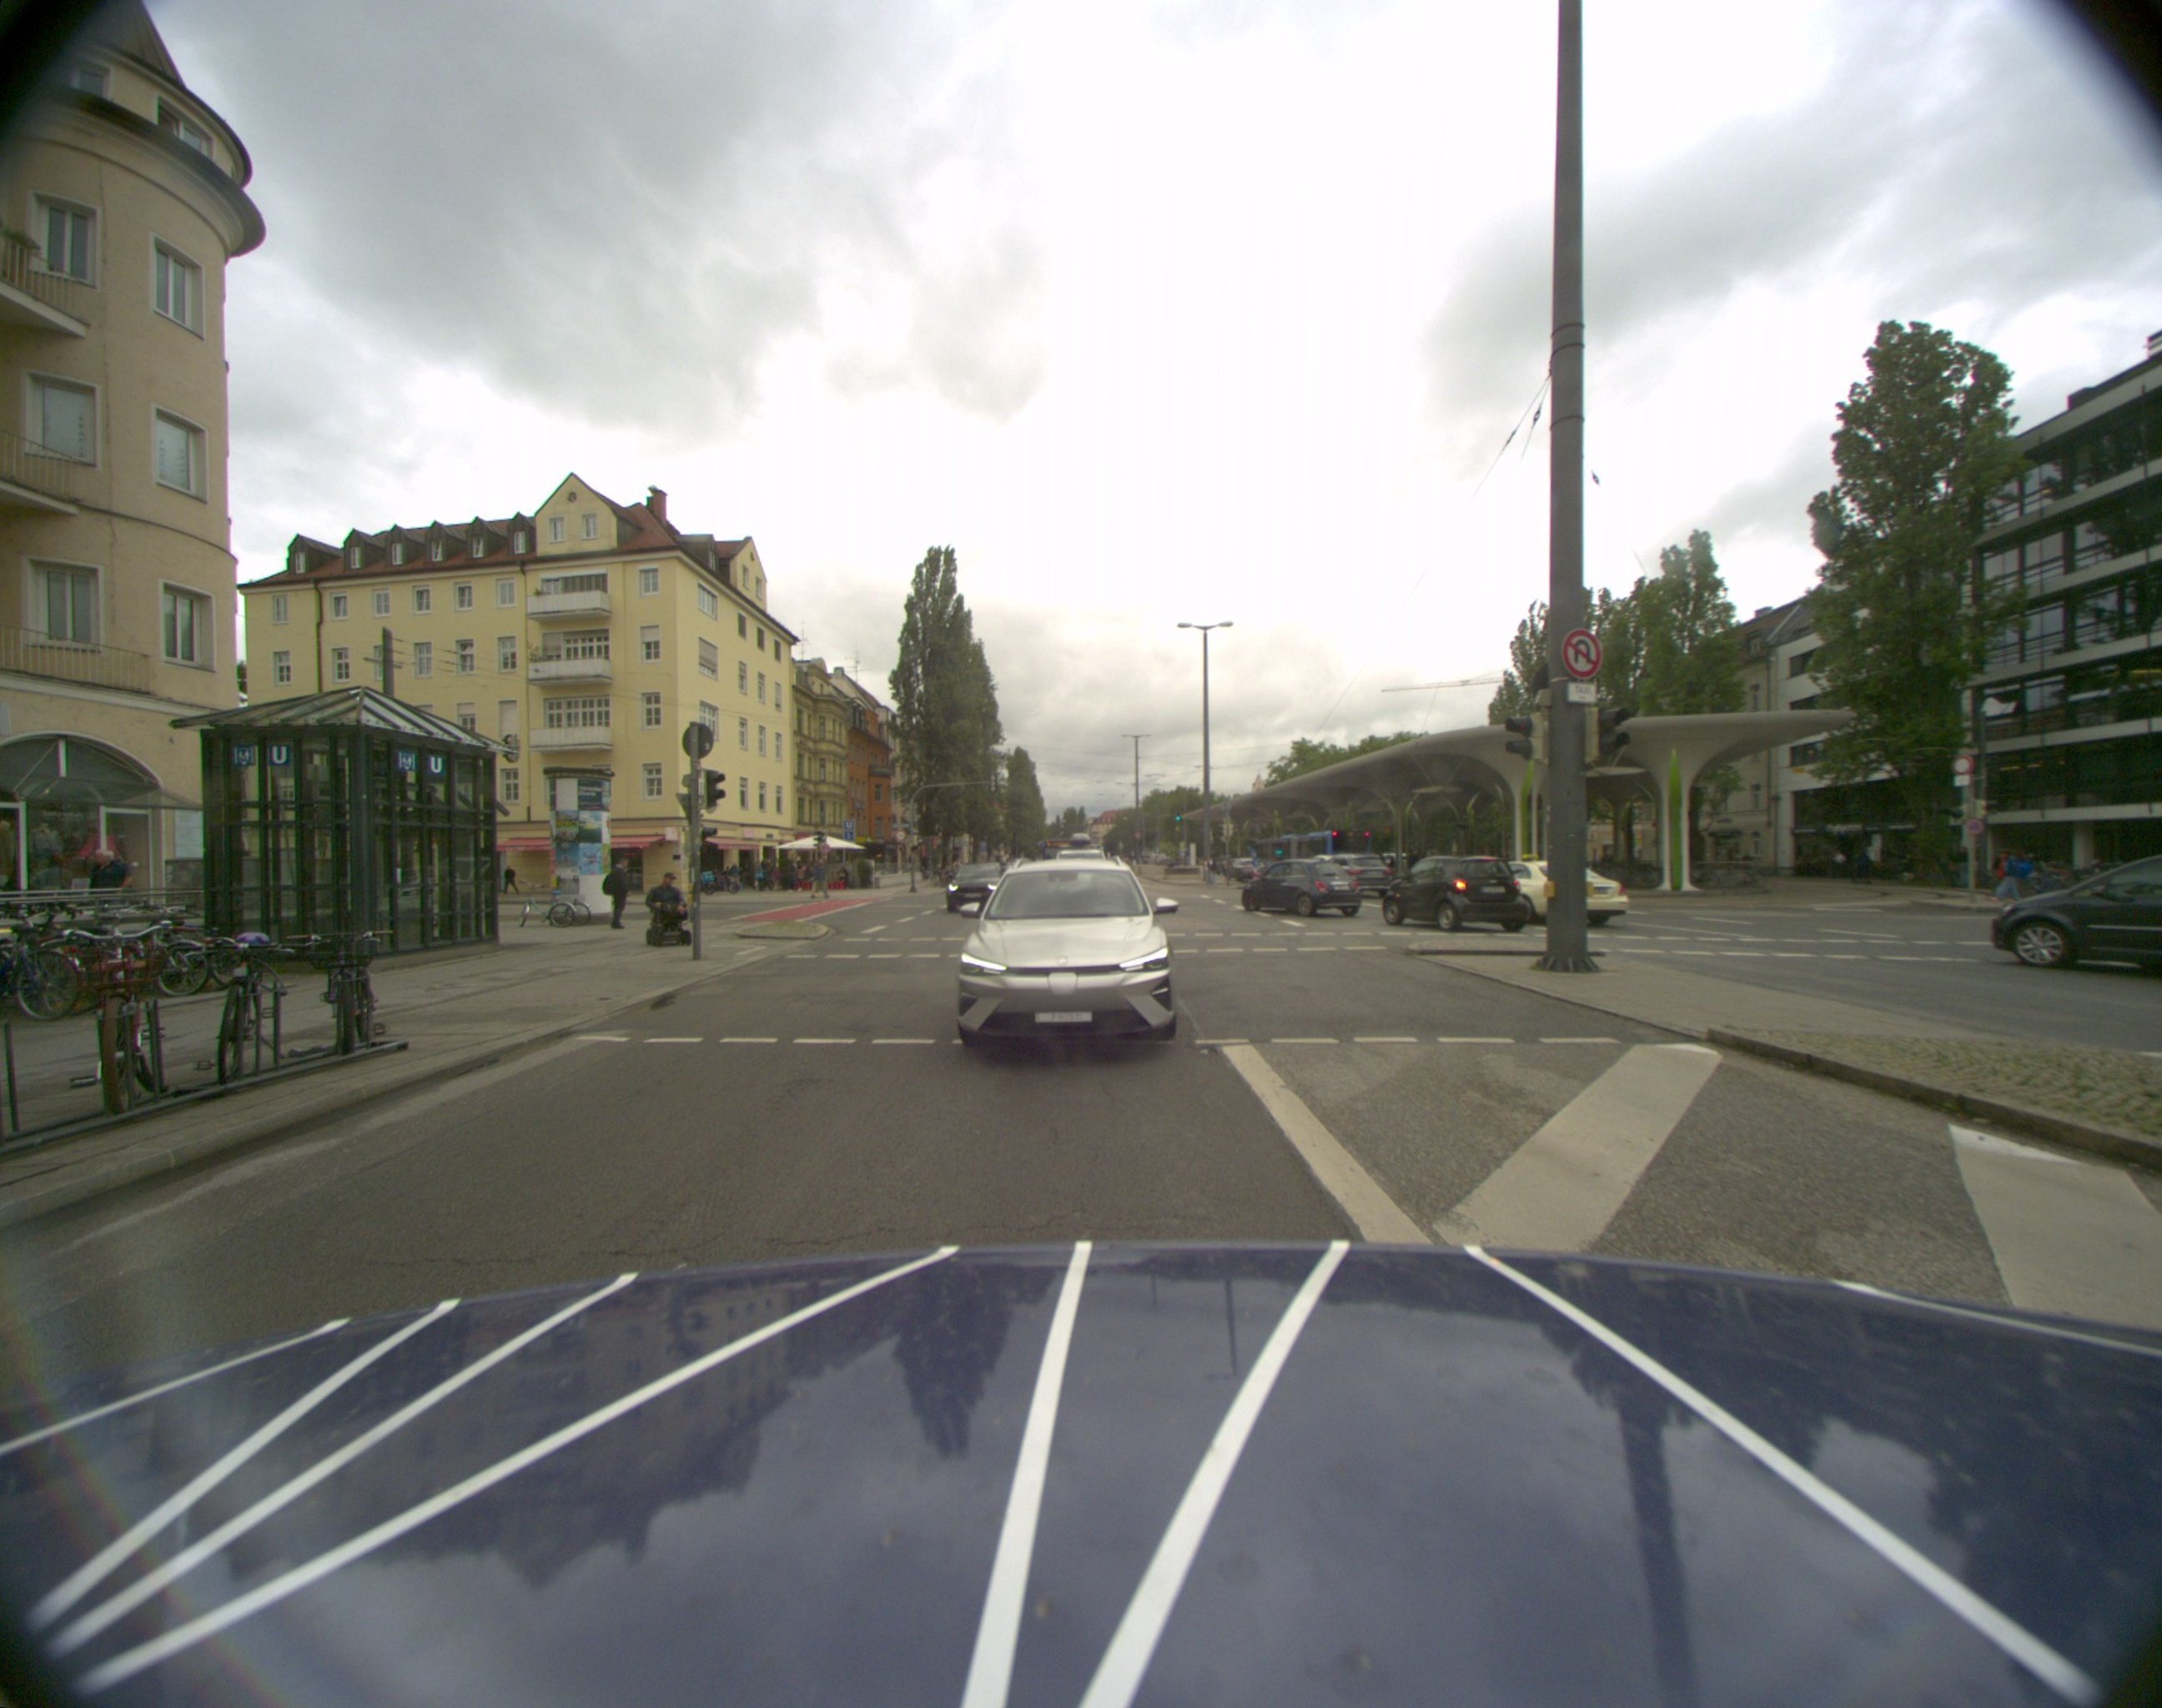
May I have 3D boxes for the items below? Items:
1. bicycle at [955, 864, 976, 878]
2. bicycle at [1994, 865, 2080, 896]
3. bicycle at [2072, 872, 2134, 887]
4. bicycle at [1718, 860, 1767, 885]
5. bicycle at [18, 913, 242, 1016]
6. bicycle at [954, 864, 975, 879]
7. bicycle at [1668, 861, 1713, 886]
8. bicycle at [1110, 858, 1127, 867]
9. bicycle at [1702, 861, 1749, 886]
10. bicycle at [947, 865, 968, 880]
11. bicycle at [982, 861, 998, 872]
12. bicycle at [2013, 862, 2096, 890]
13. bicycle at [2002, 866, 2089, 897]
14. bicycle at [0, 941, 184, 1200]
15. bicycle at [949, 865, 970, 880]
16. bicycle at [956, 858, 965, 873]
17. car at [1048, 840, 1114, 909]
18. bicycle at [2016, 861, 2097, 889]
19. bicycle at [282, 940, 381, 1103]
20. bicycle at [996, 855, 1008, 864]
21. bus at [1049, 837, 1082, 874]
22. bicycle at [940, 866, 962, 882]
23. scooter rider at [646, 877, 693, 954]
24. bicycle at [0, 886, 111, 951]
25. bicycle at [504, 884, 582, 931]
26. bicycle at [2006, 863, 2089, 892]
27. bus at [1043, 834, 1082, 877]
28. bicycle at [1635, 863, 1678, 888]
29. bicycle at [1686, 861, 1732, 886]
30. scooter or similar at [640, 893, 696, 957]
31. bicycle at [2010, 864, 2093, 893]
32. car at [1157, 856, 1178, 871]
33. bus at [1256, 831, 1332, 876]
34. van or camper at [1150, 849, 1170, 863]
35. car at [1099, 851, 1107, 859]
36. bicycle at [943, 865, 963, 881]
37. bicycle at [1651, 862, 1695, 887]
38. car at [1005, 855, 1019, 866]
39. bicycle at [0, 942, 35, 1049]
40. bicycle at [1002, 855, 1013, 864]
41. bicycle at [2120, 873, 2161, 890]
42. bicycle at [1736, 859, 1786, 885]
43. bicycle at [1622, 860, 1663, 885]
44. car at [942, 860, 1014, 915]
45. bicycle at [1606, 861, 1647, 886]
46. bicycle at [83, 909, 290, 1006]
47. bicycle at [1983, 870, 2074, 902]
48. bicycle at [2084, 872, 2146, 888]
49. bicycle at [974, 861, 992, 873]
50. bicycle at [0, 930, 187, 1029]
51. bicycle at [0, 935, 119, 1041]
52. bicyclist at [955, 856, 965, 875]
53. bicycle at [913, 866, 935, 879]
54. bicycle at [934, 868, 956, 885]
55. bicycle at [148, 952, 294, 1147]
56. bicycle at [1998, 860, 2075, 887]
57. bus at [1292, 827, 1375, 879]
[{"bbox_3d":[-8.449,1.251,55.558,1.836,0.990,0.349,0,1,39],"label":"bicycle"},{"bbox_3d":[32.325,0.885,25.723,0.455,0.934,1.727,-1,1,-21],"label":"bicycle"},{"bbox_3d":[41.658,1.037,30.988,1.631,0.629,0.363,0,0,14],"label":"bicycle"},{"bbox_3d":[30.482,0.841,35.044,0.654,1.111,2.184,-1,0,10],"label":"bicycle"},{"bbox_3d":[-10.828,1.243,8.683,1.843,1.088,0.509,0,0,-2],"label":"bicycle"},{"bbox_3d":[-8.444,1.252,54.903,1.836,0.990,0.349,0,1,39],"label":"bicycle"},{"bbox_3d":[28.428,0.909,35.471,0.654,1.111,2.184,-1,0,10],"label":"bicycle"},{"bbox_3d":[4.928,1.075,100.118,2.235,1.143,0.505,-1,0,-31],"label":"bicycle"},{"bbox_3d":[29.836,0.874,35.194,0.654,1.111,2.184,-1,0,10],"label":"bicycle"},{"bbox_3d":[-8.353,1.252,51.415,1.836,0.990,0.349,0,1,43],"label":"bicycle"},{"bbox_3d":[-8.664,1.206,72.198,1.837,0.990,0.376,-3,-1,42],"label":"bicycle"},{"bbox_3d":[34.443,0.776,26.907,1.726,0.934,0.456,1,2,42],"label":"bicycle"},{"bbox_3d":[32.013,0.902,25.250,0.455,0.934,1.728,-1,1,-19],"label":"bicycle"},{"bbox_3d":[-6.155,1.223,4.769,1.800,1.191,0.560,-1,0,43],"label":"bicycle"},{"bbox_3d":[-8.356,1.252,52.081,1.836,0.990,0.349,0,1,43],"label":"bicycle"},{"bbox_3d":[-10.632,1.027,67.175,0.424,1.280,1.778,-1,0,1],"label":"bicycle"},{"bbox_3d":[-0.042,0.630,25.265,1.999,2.100,3.999,-1,0,-1],"label":"car"},{"bbox_3d":[34.896,0.752,27.213,1.726,0.934,0.456,1,2,42],"label":"bicycle"},{"bbox_3d":[-6.151,1.306,6.286,0.500,1.022,1.597,-1,0,-42],"label":"bicycle"},{"bbox_3d":[-10.027,0.697,96.452,1.740,1.096,0.360,0,1,35],"label":"bicycle"},{"bbox_3d":[-1.341,0.121,68.674,2.637,2.956,8.533,-3,0,0],"label":"bus"},{"bbox_3d":[-8.325,1.255,48.623,1.836,0.990,0.349,0,1,44],"label":"bicycle"},{"bbox_3d":[-7.715,1.125,14.240,0.704,1.380,0.642,0,0,-36],"label":"scooter rider"},{"bbox_3d":[-19.495,1.176,14.190,0.496,1.083,1.865,-1,0,-6],"label":"bicycle"},{"bbox_3d":[-13.348,1.315,18.867,1.572,1.153,0.525,0,-1,3],"label":"bicycle"},{"bbox_3d":[33.868,0.805,26.656,1.726,0.934,0.456,1,2,42],"label":"bicycle"},{"bbox_3d":[-1.348,0.136,59.682,2.637,2.956,9.466,-3,0,0],"label":"bus"},{"bbox_3d":[27.064,0.978,35.772,0.654,1.111,2.184,-1,0,10],"label":"bicycle"},{"bbox_3d":[29.178,0.907,35.331,0.654,1.111,2.184,-1,0,10],"label":"bicycle"},{"bbox_3d":[-7.746,1.297,14.233,0.779,1.069,1.253,0,0,-36],"label":"scooter or similar"},{"bbox_3d":[33.402,0.830,26.195,0.456,0.934,1.726,-2,2,-41],"label":"bicycle"},{"bbox_3d":[9.242,1.018,81.557,1.669,1.499,4.281,2,-1,-2],"label":"car"},{"bbox_3d":[15.692,-0.056,56.965,2.667,2.990,10.514,1,0,0],"label":"bus"},{"bbox_3d":[10.615,0.249,102.948,1.933,1.815,5.439,-1,0,-2],"label":"van or camper"},{"bbox_3d":[5.383,0.263,187.238,1.791,1.844,4.217,0,0,-3],"label":"car"},{"bbox_3d":[-8.449,1.259,50.130,0.349,0.990,1.836,-1,1,-44],"label":"bicycle"},{"bbox_3d":[27.732,0.944,35.627,0.654,1.111,2.184,-1,0,10],"label":"bicycle"},{"bbox_3d":[-10.133,0.959,112.395,1.737,1.651,4.501,-1,0,-1],"label":"car"},{"bbox_3d":[-10.863,1.326,6.940,1.843,0.958,0.509,0,0,-2],"label":"bicycle"},{"bbox_3d":[-9.436,0.734,97.098,0.360,1.096,1.740,-1,1,-45],"label":"bicycle"},{"bbox_3d":[41.338,1.056,29.294,1.631,0.629,0.363,0,0,14],"label":"bicycle"},{"bbox_3d":[31.177,0.806,34.898,0.654,1.111,2.184,-1,0,10],"label":"bicycle"},{"bbox_3d":[26.415,0.870,35.781,0.642,1.118,2.167,-1,0,9],"label":"bicycle"},{"bbox_3d":[-3.295,1.025,24.984,1.780,1.495,3.969,-3,1,0],"label":"car"},{"bbox_3d":[25.781,0.903,35.948,0.642,1.118,2.167,-1,0,9],"label":"bicycle"},{"bbox_3d":[-10.851,1.243,9.250,1.843,1.088,0.509,0,0,-2],"label":"bicycle"},{"bbox_3d":[30.168,0.997,24.225,0.455,0.934,1.728,-1,1,-20],"label":"bicycle"},{"bbox_3d":[41.585,1.041,30.566,1.631,0.629,0.363,0,0,14],"label":"bicycle"},{"bbox_3d":[-9.000,1.197,69.834,1.837,0.990,0.376,-2,-1,37],"label":"bicycle"},{"bbox_3d":[-10.780,1.320,8.093,1.843,0.958,0.509,0,0,-2],"label":"bicycle"},{"bbox_3d":[-10.847,1.324,7.561,1.843,0.958,0.509,0,0,-2],"label":"bicycle"},{"bbox_3d":[-10.648,1.006,67.037,0.681,1.594,0.939,-1,1,0],"label":"bicyclist"},{"bbox_3d":[-13.391,1.607,64.870,1.728,1.039,0.387,-2,-1,-6],"label":"bicycle"},{"bbox_3d":[-8.326,1.340,46.418,1.836,0.990,0.349,0,1,44],"label":"bicycle"},{"bbox_3d":[-6.073,1.301,5.430,0.500,1.022,1.597,-1,0,-42],"label":"bicycle"},{"bbox_3d":[35.528,0.719,28.285,1.726,0.934,0.456,1,2,44],"label":"bicycle"},{"bbox_3d":[15.756,-0.047,47.963,2.667,2.990,7.512,1,0,0],"label":"bus"}]
